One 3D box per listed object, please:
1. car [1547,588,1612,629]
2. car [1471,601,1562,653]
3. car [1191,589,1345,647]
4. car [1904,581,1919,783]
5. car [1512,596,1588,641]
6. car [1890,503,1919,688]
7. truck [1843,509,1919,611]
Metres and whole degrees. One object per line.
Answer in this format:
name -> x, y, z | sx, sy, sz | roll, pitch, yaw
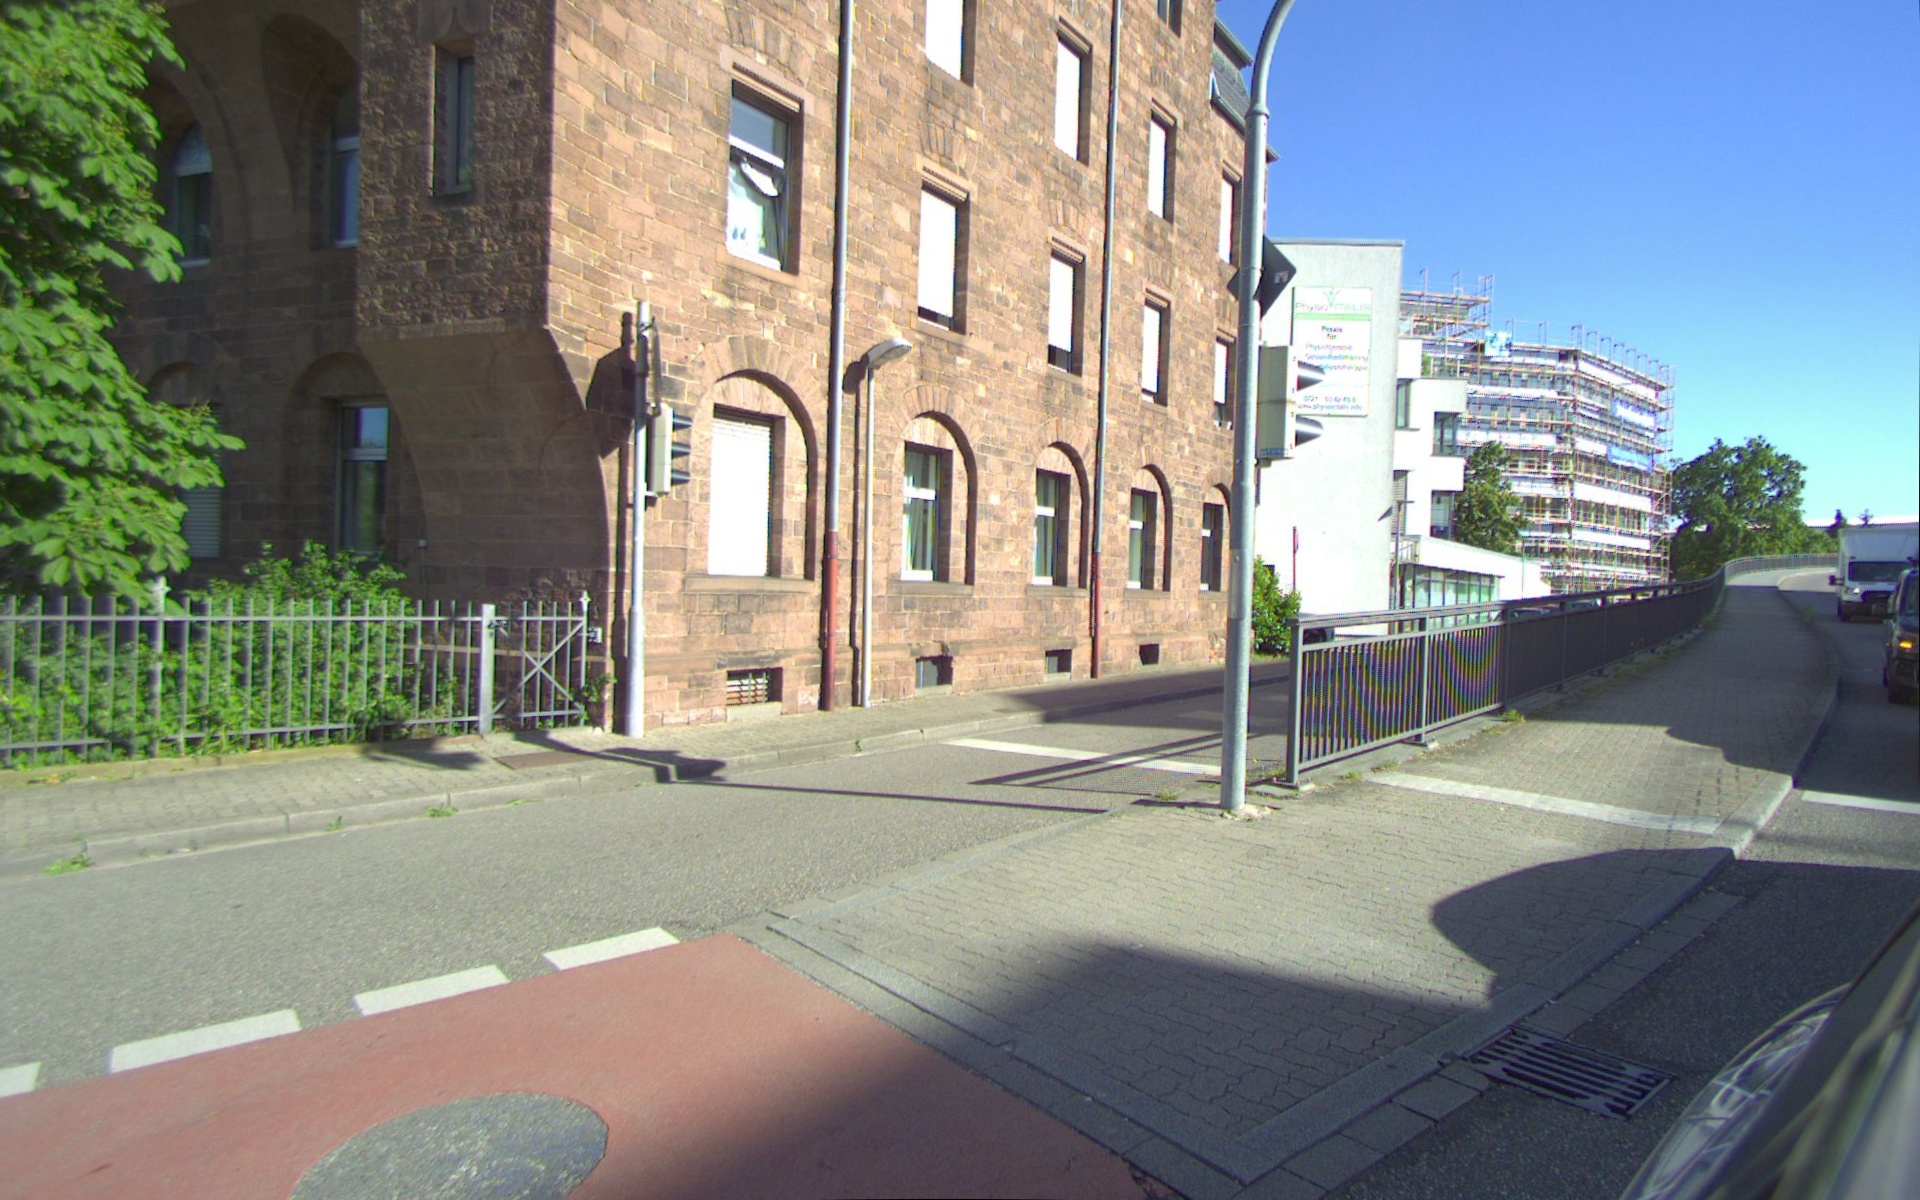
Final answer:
car -> 27.609, 0.377, 45.053 | 2.043, 1.707, 4.037 | 2, 0, 37
car -> 18.583, 0.866, 33.725 | 2.043, 1.551, 4.036 | 2, 0, 38
car -> 9.114, 0.511, 30.194 | 4.020, 1.551, 1.917 | 2, 0, 5
car -> 9.287, 0.624, 8.507 | 1.875, 1.489, 4.562 | 3, 2, 44
car -> 22.671, 0.685, 38.805 | 2.043, 1.551, 4.037 | 2, 0, 37
car -> 14.056, -0.003, 13.807 | 1.945, 2.290, 4.710 | 2, 1, 43
truck -> 31.914, -1.250, 34.630 | 2.495, 3.167, 6.855 | 2, 1, 41
